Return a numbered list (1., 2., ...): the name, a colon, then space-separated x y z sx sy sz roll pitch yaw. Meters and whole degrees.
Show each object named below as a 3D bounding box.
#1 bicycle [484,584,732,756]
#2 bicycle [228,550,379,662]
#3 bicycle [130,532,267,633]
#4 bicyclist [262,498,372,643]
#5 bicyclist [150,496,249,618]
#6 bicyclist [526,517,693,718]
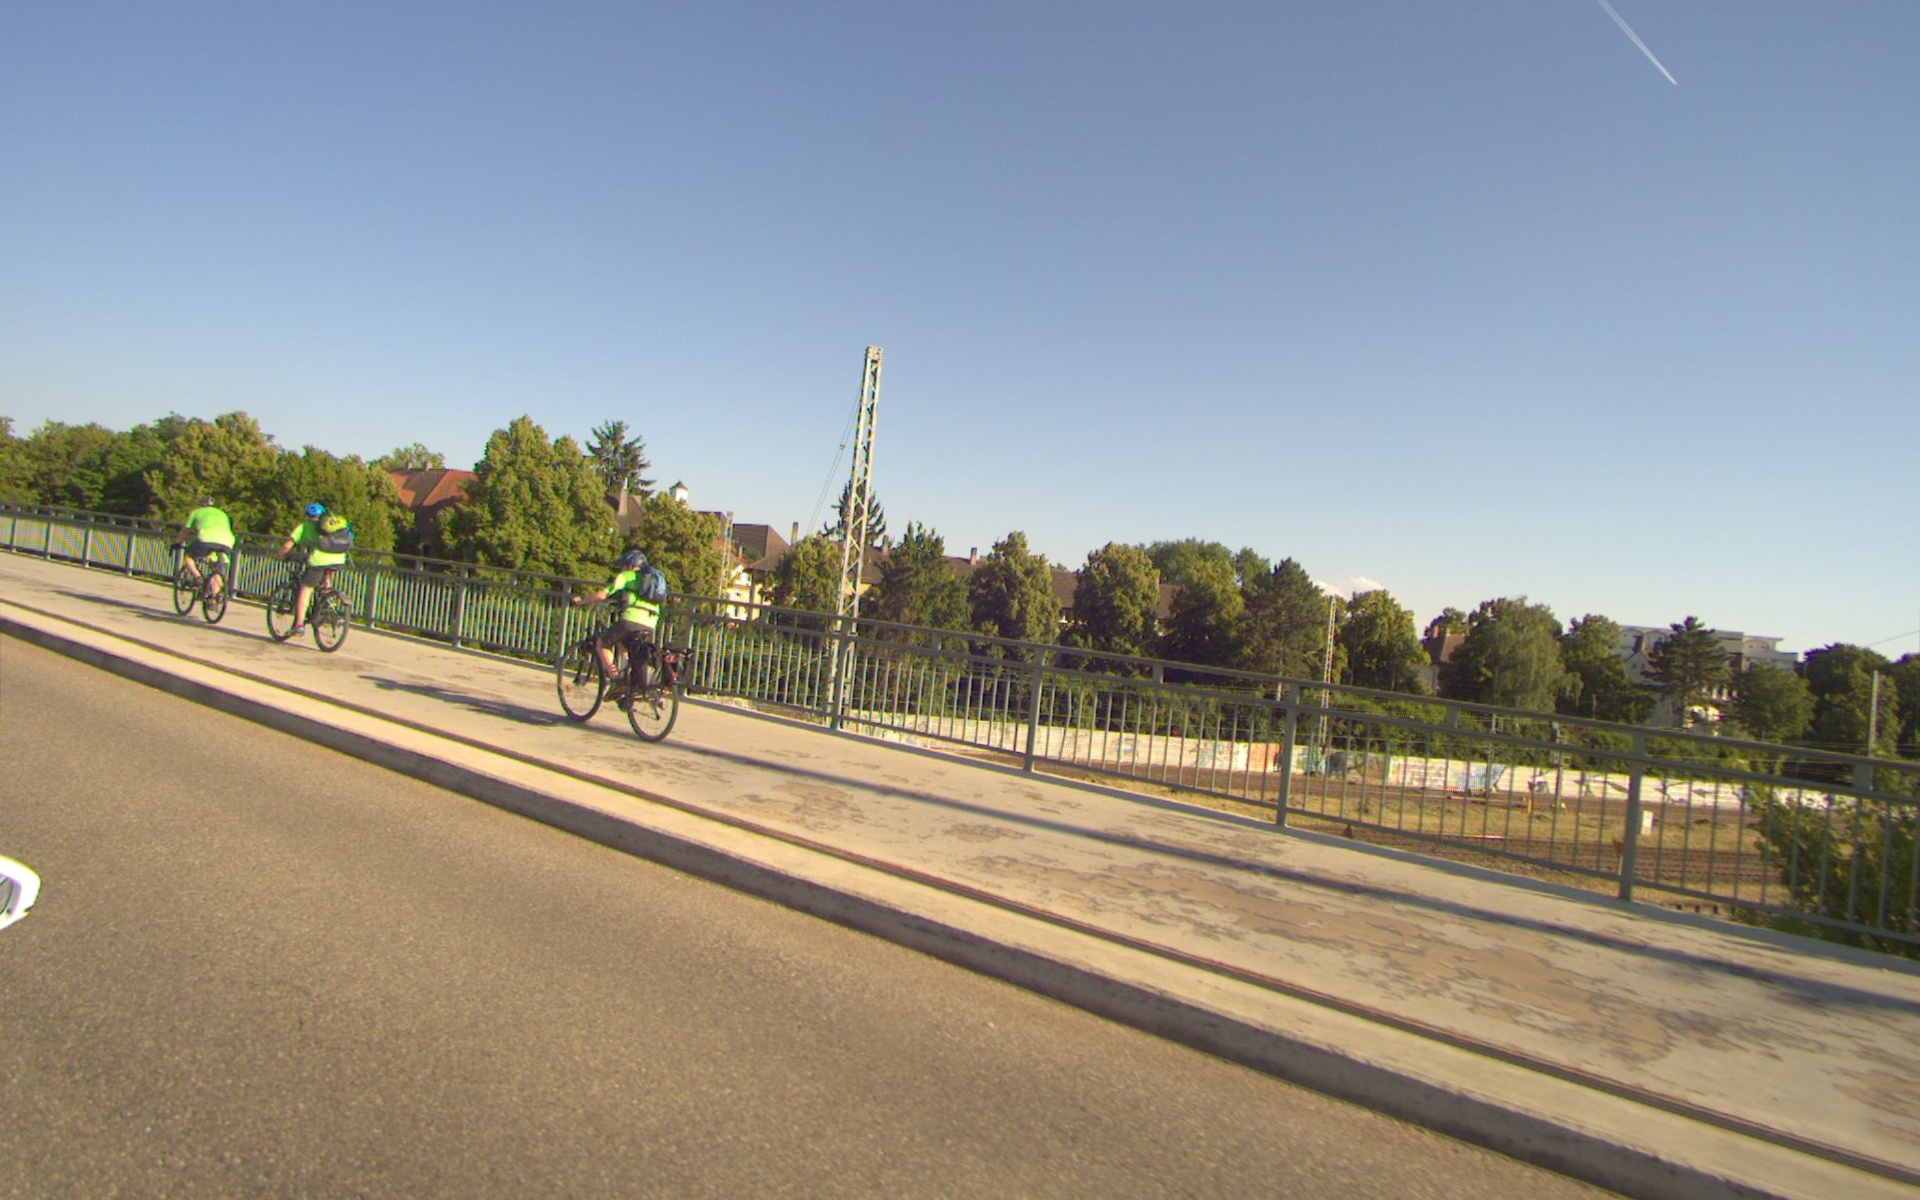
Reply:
1. bicycle: -3.074 0.569 8.691 2.179 1.136 0.684 7 -1 32
2. bicycle: -7.930 0.058 12.119 2.008 1.135 0.626 5 -2 32
3. bicycle: -10.372 -0.258 13.673 2.222 1.135 0.626 6 -1 32
4. bicyclist: -7.704 -0.352 12.060 0.915 1.611 0.626 6 -1 32
5. bicyclist: -10.357 -0.582 13.699 0.989 1.526 0.626 6 -1 32
6. bicyclist: -3.013 0.161 8.678 0.881 1.581 0.813 7 -1 31
